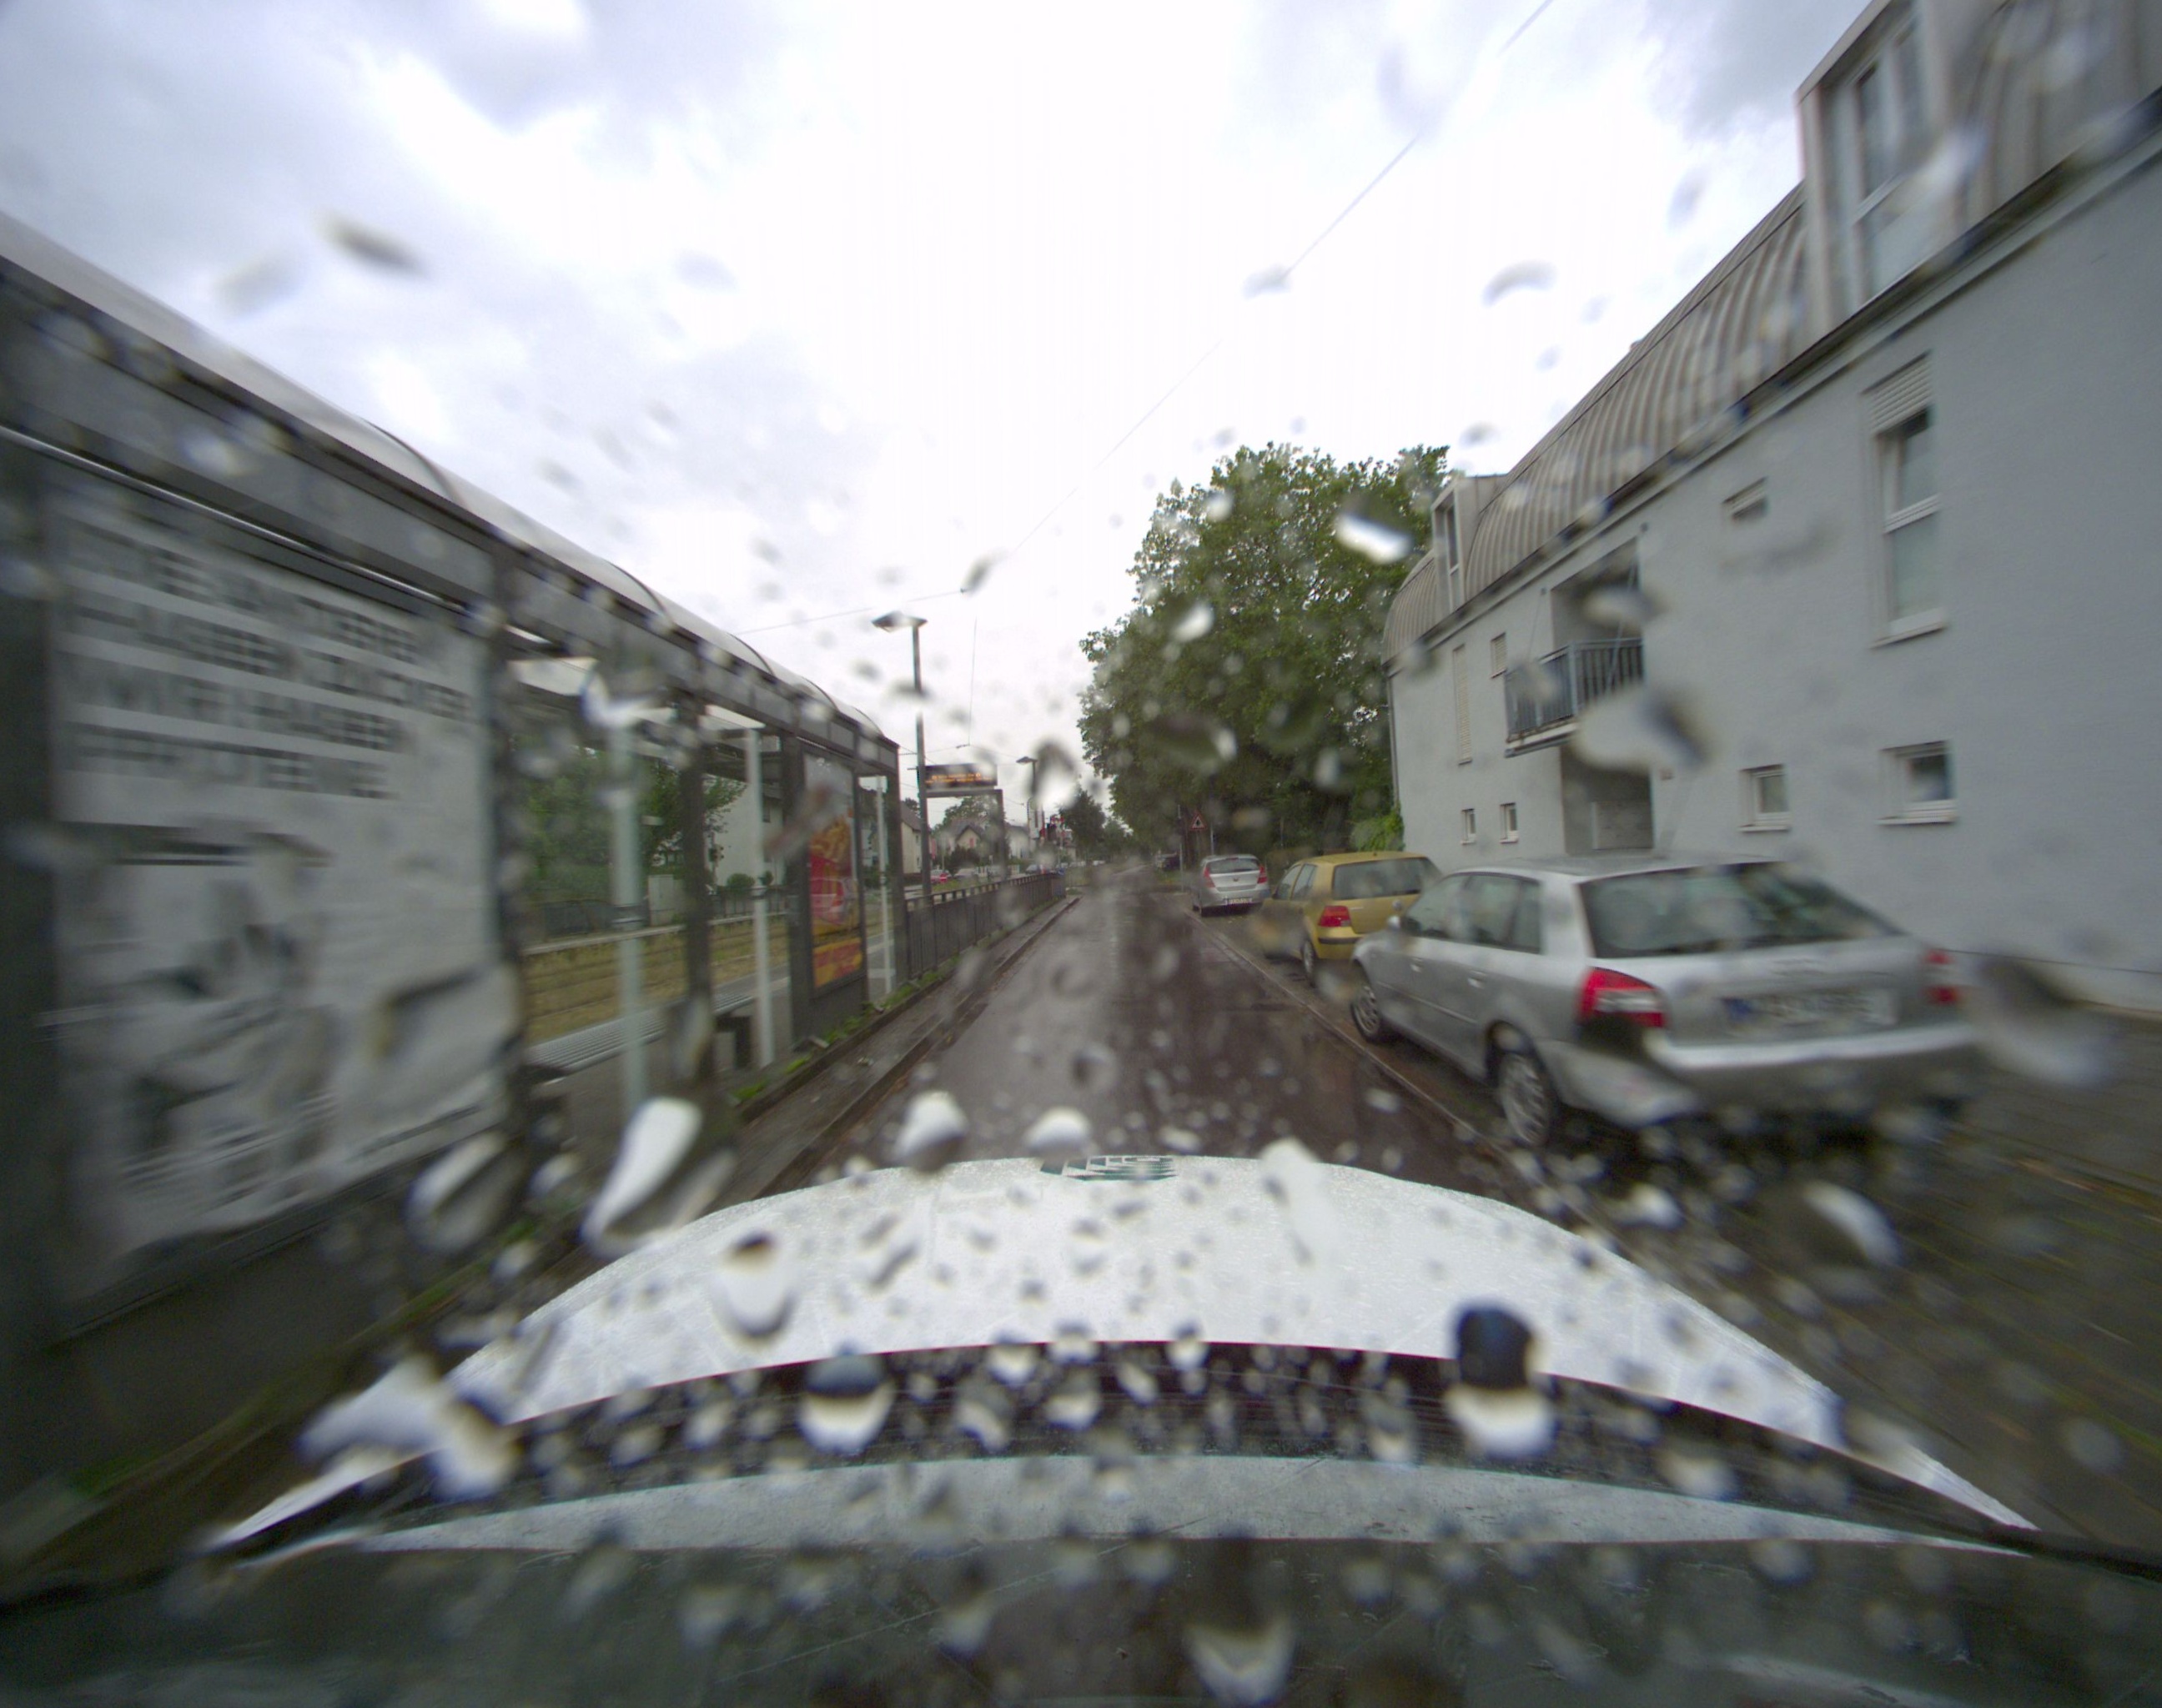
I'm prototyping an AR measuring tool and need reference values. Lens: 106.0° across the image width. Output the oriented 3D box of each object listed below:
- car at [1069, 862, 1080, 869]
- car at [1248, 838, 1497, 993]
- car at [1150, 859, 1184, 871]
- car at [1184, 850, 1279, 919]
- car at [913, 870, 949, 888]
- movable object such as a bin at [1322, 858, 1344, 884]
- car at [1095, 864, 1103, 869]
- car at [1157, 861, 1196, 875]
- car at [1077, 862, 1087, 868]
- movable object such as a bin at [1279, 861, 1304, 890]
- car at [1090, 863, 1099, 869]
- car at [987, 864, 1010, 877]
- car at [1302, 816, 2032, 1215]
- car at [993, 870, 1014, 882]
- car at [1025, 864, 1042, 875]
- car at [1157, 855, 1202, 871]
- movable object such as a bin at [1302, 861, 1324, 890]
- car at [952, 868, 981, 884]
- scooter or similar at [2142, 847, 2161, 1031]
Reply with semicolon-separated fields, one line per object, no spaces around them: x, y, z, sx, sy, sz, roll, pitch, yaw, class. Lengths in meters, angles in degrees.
-1.380;2.597;181.171;1.919;1.486;4.006;-2;-1;6;car
3.365;0.674;10.223;1.800;1.405;3.796;-6;-2;3;car
11.416;1.483;108.134;3.990;1.453;1.991;-1;-2;-12;car
3.792;0.762;21.128;1.800;1.467;3.796;-6;-2;3;car
-12.901;2.139;70.319;1.919;1.486;4.006;-2;-1;6;car
9.198;0.616;29.750;0.534;0.899;0.739;-5;-1;2;movable object such as a bin
5.301;3.624;236.965;1.919;1.486;4.006;-2;-1;6;car
10.824;1.579;92.331;3.990;1.453;1.991;-1;-2;-12;car
0.270;2.627;193.098;1.919;1.486;4.006;-2;-1;6;car
7.916;0.823;30.663;0.690;1.022;0.824;-5;-1;2;movable object such as a bin
3.691;3.314;222.846;1.919;1.486;4.006;-2;-1;6;car
-9.874;2.014;98.081;1.919;1.486;4.006;-2;-1;6;car
2.902;0.689;5.512;1.643;1.405;4.652;-6;-2;3;car
-9.995;2.779;104.893;1.919;1.486;4.006;-2;-1;6;car
-7.234;2.383;124.567;1.919;1.486;4.006;-2;-1;6;car
9.700;0.921;80.287;3.990;1.453;1.991;-1;-2;-12;car
8.547;0.791;30.010;0.534;1.022;0.739;-5;-1;2;movable object such as a bin
-11.347;2.168;81.163;1.919;1.486;4.006;-2;-1;6;car
6.435;0.486;4.142;0.331;1.085;1.398;-2;-2;8;scooter or similar
